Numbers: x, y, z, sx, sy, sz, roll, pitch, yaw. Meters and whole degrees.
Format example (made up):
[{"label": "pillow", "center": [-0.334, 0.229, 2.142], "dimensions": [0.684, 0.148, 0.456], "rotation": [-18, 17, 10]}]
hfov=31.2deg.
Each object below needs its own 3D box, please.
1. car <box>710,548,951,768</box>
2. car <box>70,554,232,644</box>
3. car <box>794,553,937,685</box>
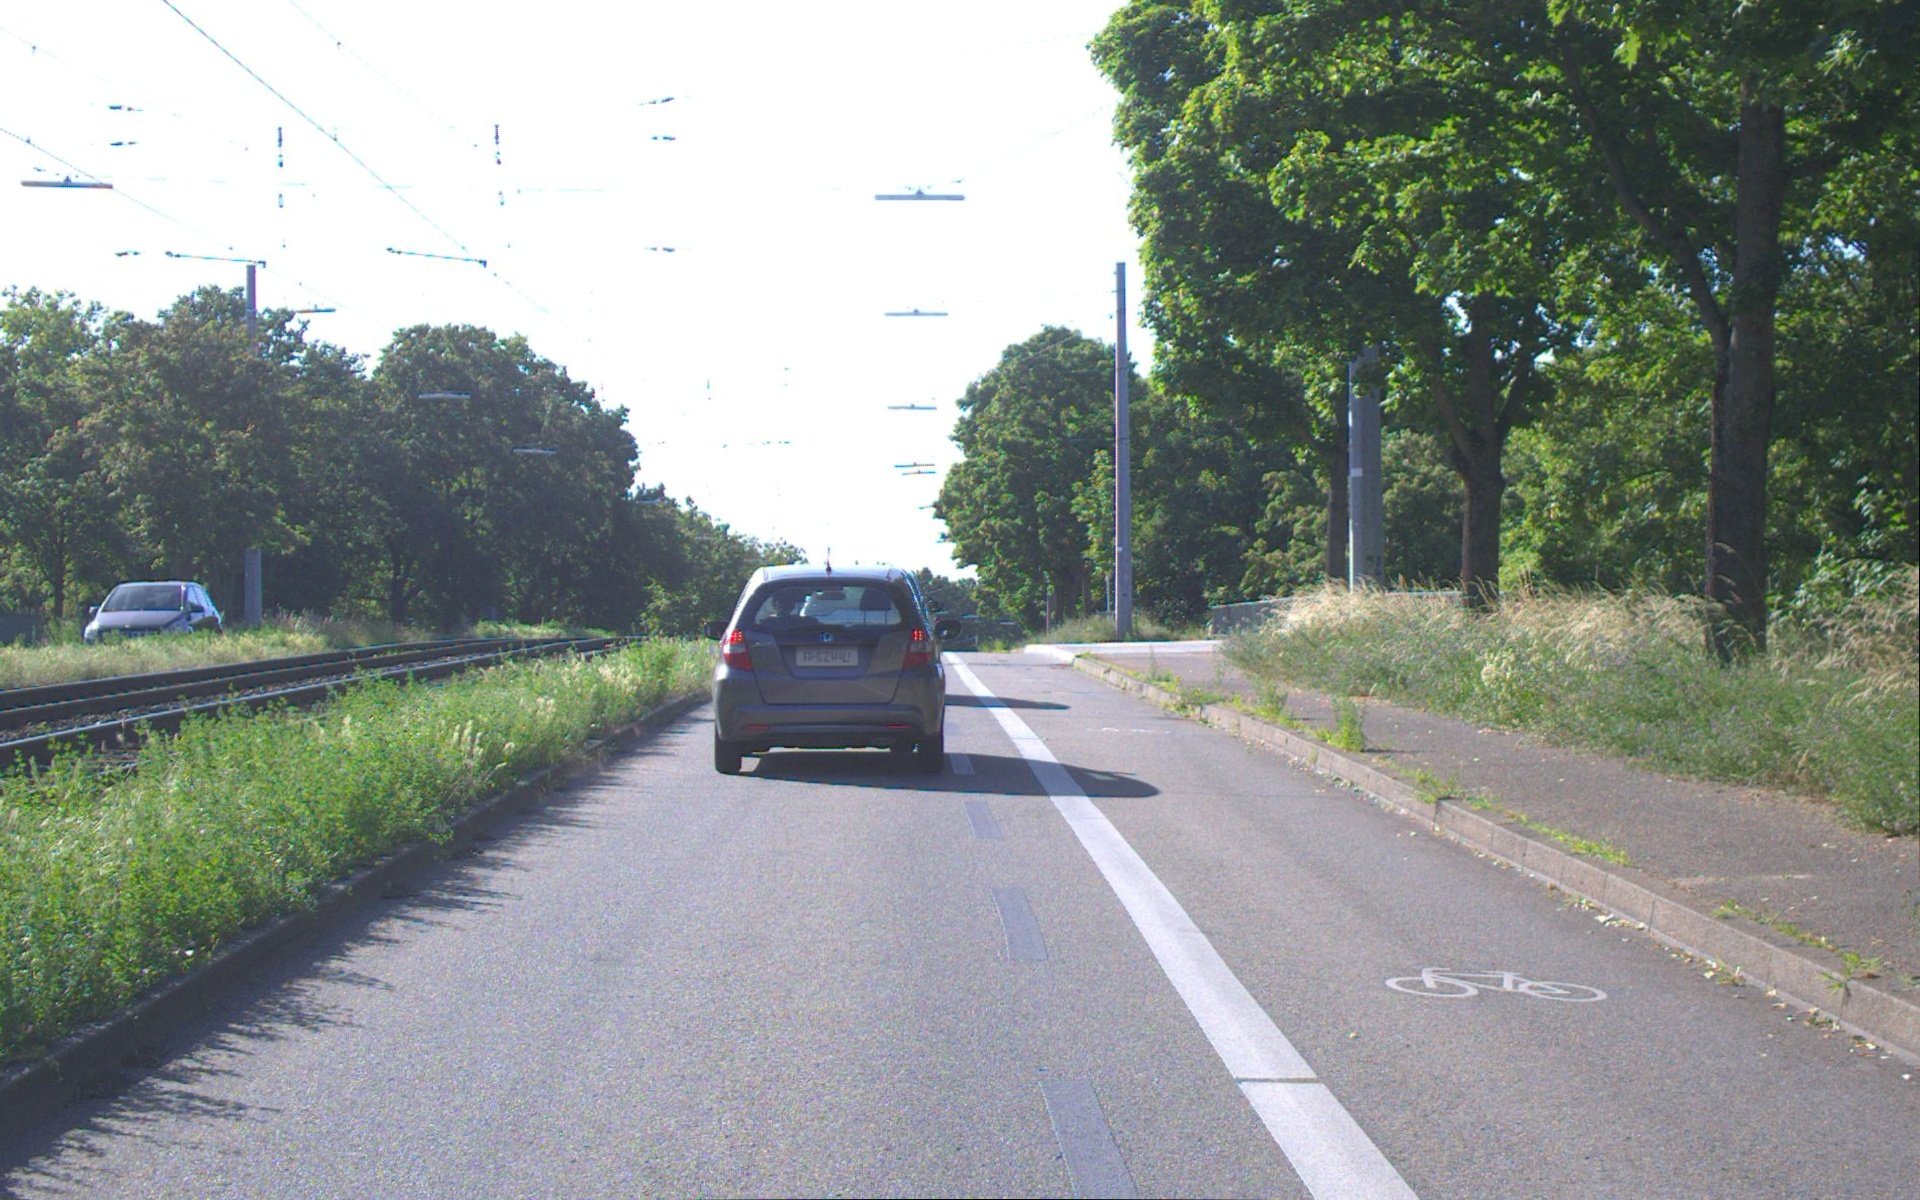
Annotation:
[{"label": "car", "center": [-0.921, 0.378, 26.108], "dimensions": [1.670, 1.502, 3.811], "rotation": [1, 1, 0]}, {"label": "car", "center": [-14.294, -0.048, 60.972], "dimensions": [1.809, 1.483, 4.406], "rotation": [1, 1, 0]}, {"label": "car", "center": [-1.124, 0.203, 42.340], "dimensions": [1.654, 1.502, 3.811], "rotation": [1, 1, 0]}]
